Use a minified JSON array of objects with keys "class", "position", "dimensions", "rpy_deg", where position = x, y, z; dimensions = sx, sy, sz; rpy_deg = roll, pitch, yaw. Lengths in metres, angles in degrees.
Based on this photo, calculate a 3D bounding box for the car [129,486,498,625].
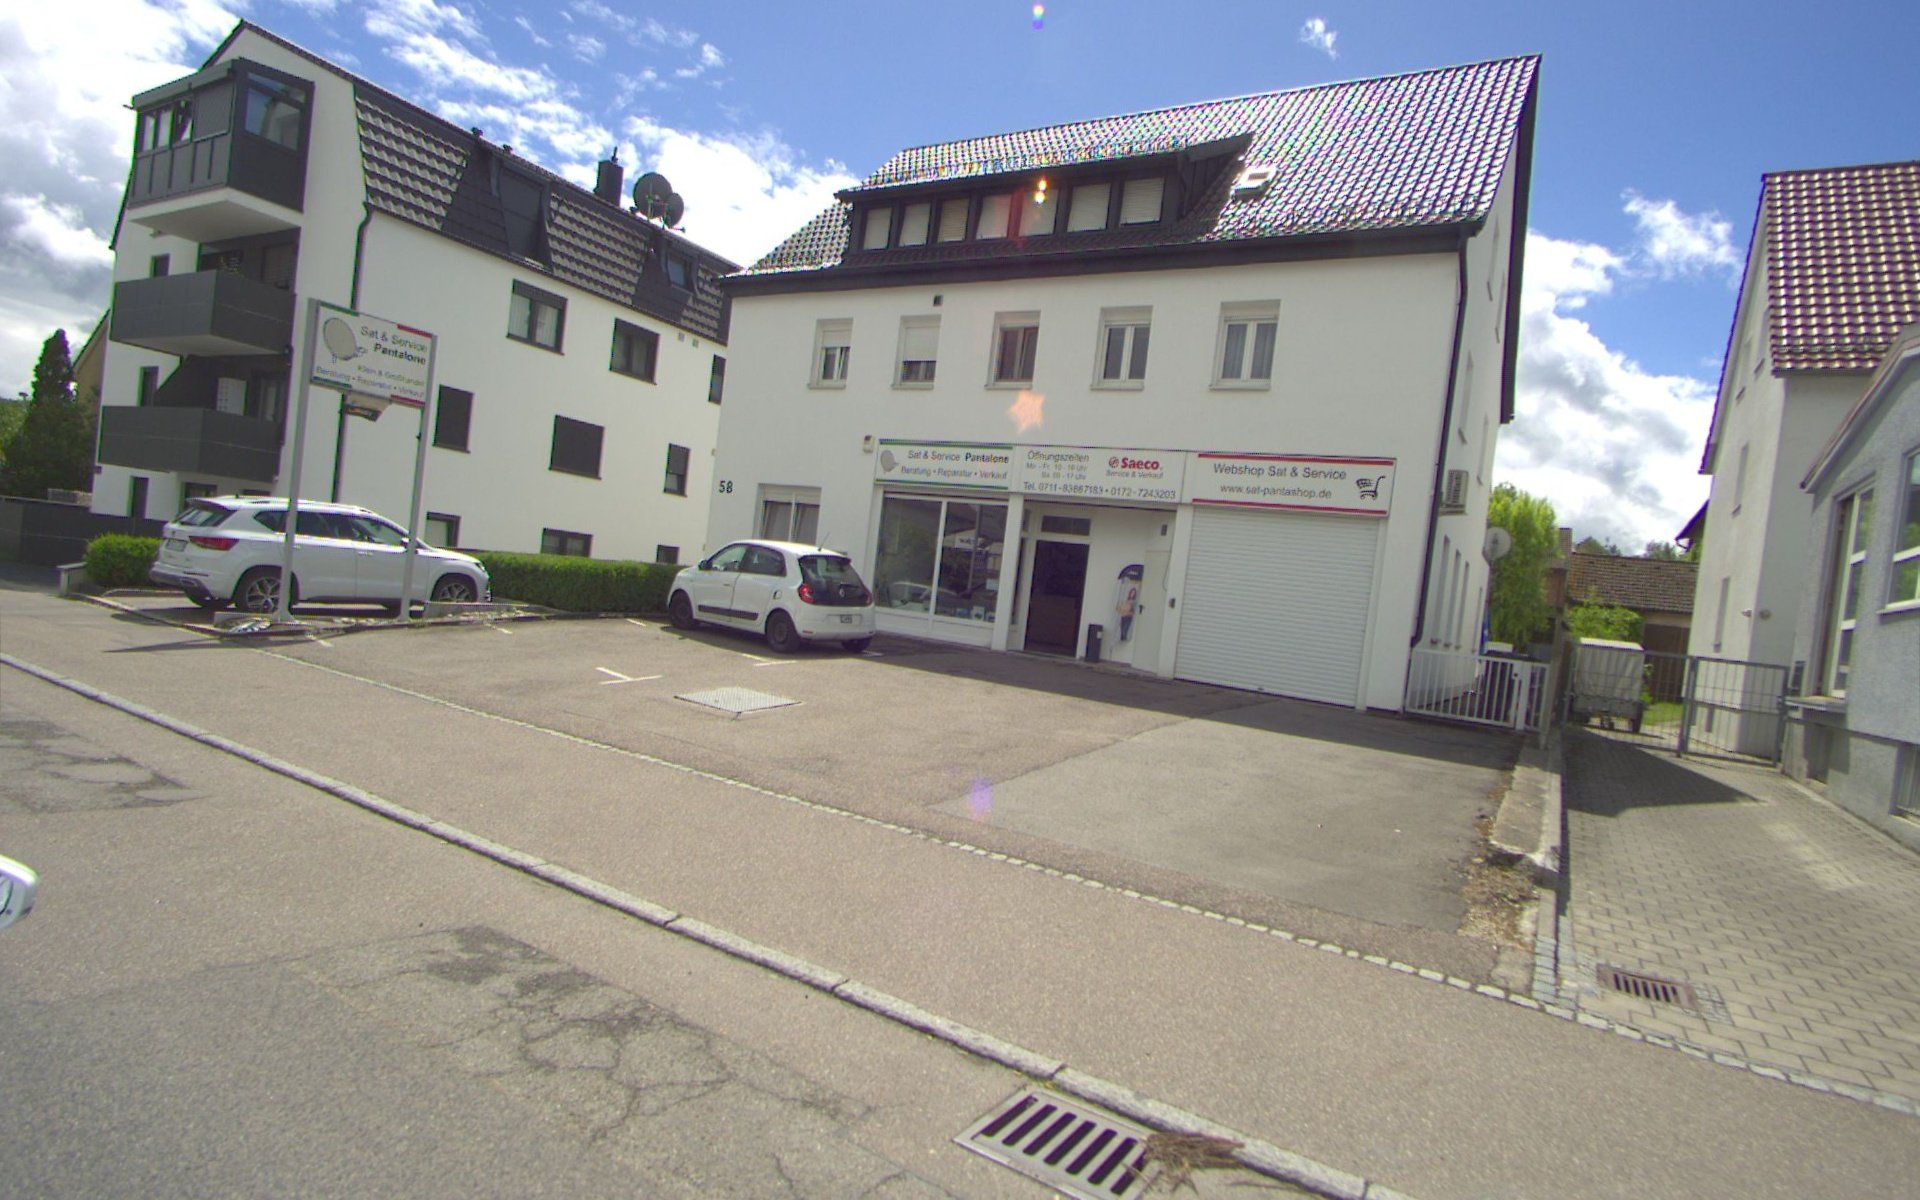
[{"class":"car","position":[-9.302,-0.609,14.828],"dimensions":[1.836,1.677,4.189],"rpy_deg":[7,4,32]}]

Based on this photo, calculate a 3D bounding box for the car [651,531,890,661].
[{"class":"car","position":[-2.997,-0.114,15.536],"dimensions":[3.610,1.540,1.627],"rpy_deg":[8,5,40]}]
